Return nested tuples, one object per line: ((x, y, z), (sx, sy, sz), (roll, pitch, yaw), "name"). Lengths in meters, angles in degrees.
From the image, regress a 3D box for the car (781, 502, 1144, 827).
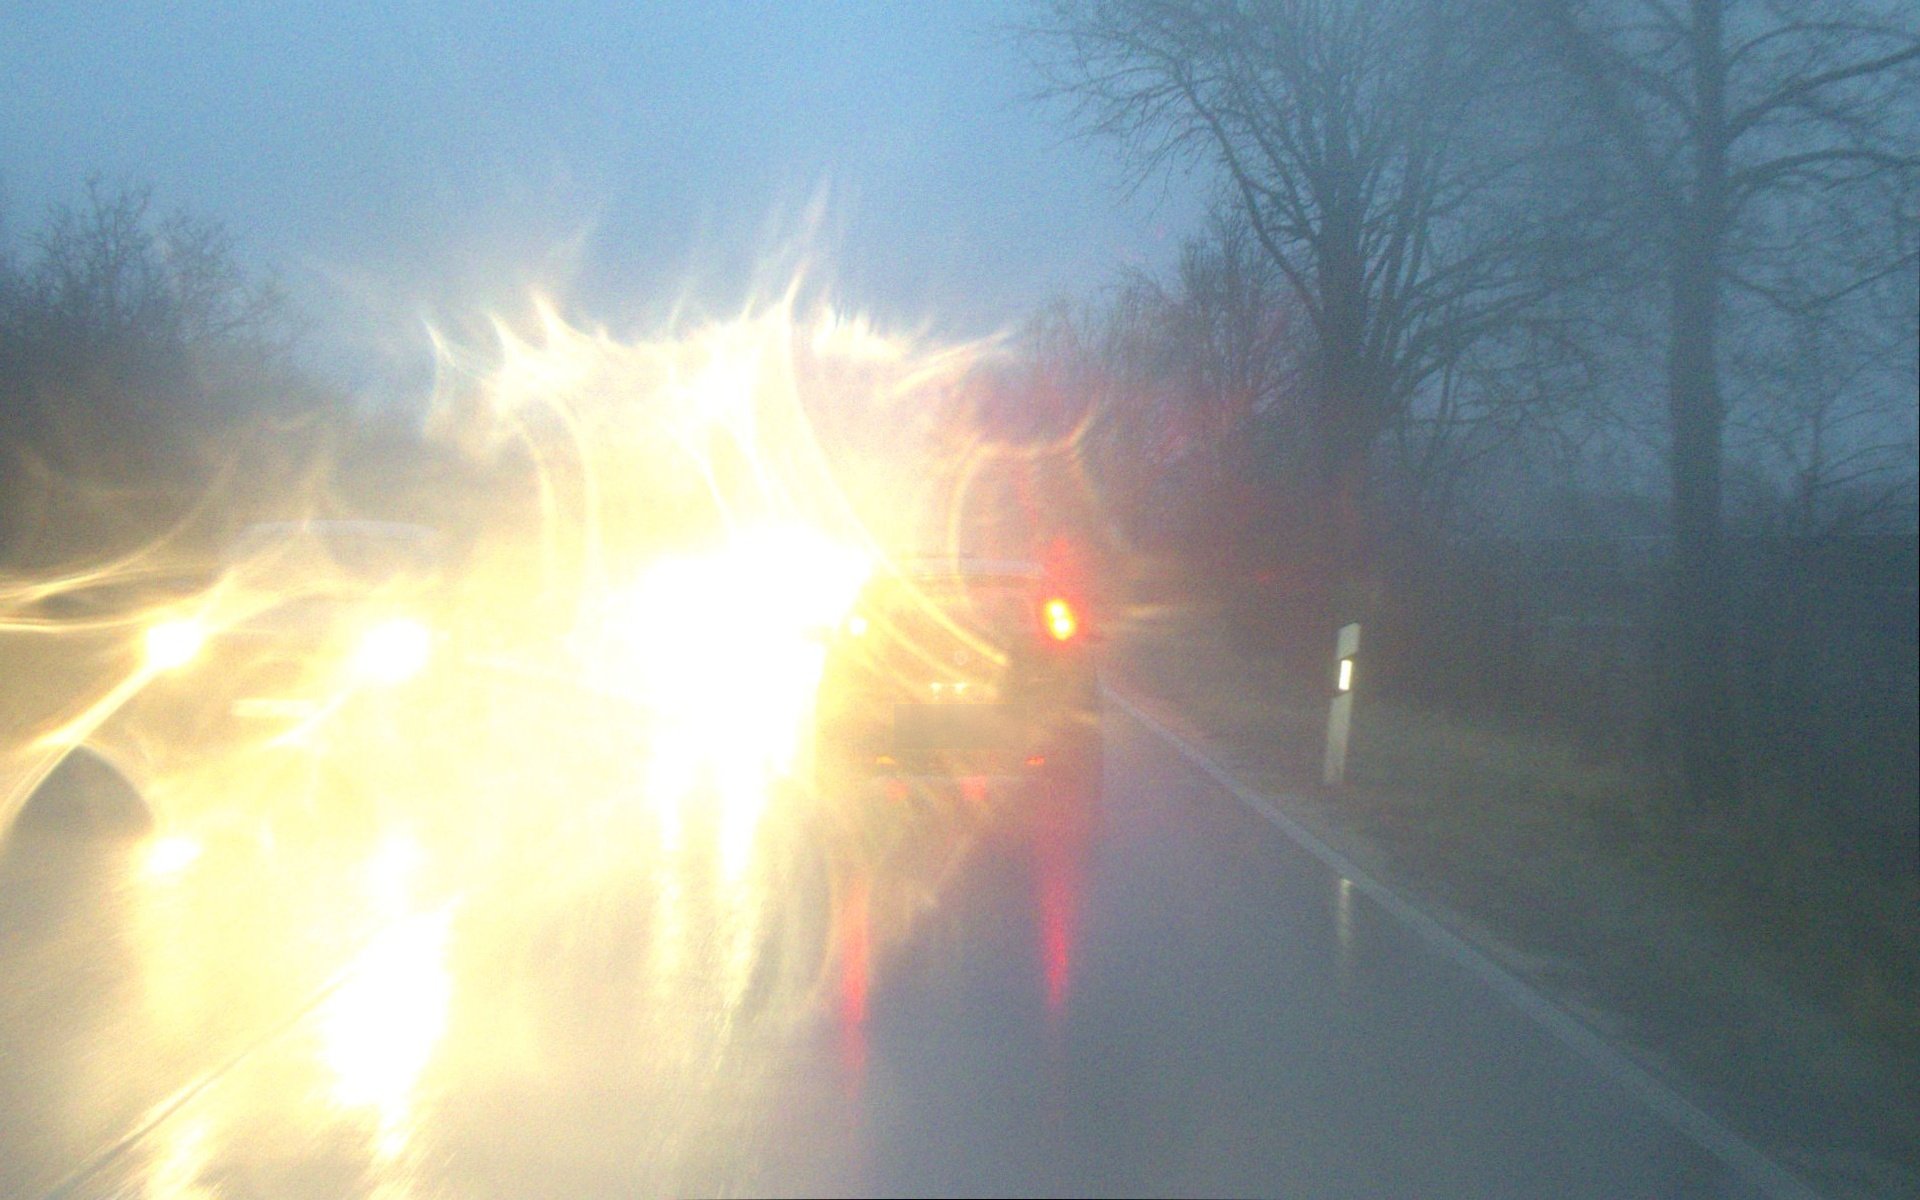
((0.035, 0.333, 21.239), (1.993, 1.778, 4.000), (1, 1, 1), "car")

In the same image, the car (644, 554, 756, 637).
((-4.756, -0.103, 63.154), (1.817, 1.436, 3.456), (1, 1, -1), "car")

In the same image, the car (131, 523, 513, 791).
((-4.232, 0.328, 23.423), (1.922, 1.648, 4.105), (1, 1, -1), "car")

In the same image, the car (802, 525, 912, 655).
((-1.537, -0.172, 52.109), (1.574, 1.868, 3.709), (1, 1, -1), "car")
